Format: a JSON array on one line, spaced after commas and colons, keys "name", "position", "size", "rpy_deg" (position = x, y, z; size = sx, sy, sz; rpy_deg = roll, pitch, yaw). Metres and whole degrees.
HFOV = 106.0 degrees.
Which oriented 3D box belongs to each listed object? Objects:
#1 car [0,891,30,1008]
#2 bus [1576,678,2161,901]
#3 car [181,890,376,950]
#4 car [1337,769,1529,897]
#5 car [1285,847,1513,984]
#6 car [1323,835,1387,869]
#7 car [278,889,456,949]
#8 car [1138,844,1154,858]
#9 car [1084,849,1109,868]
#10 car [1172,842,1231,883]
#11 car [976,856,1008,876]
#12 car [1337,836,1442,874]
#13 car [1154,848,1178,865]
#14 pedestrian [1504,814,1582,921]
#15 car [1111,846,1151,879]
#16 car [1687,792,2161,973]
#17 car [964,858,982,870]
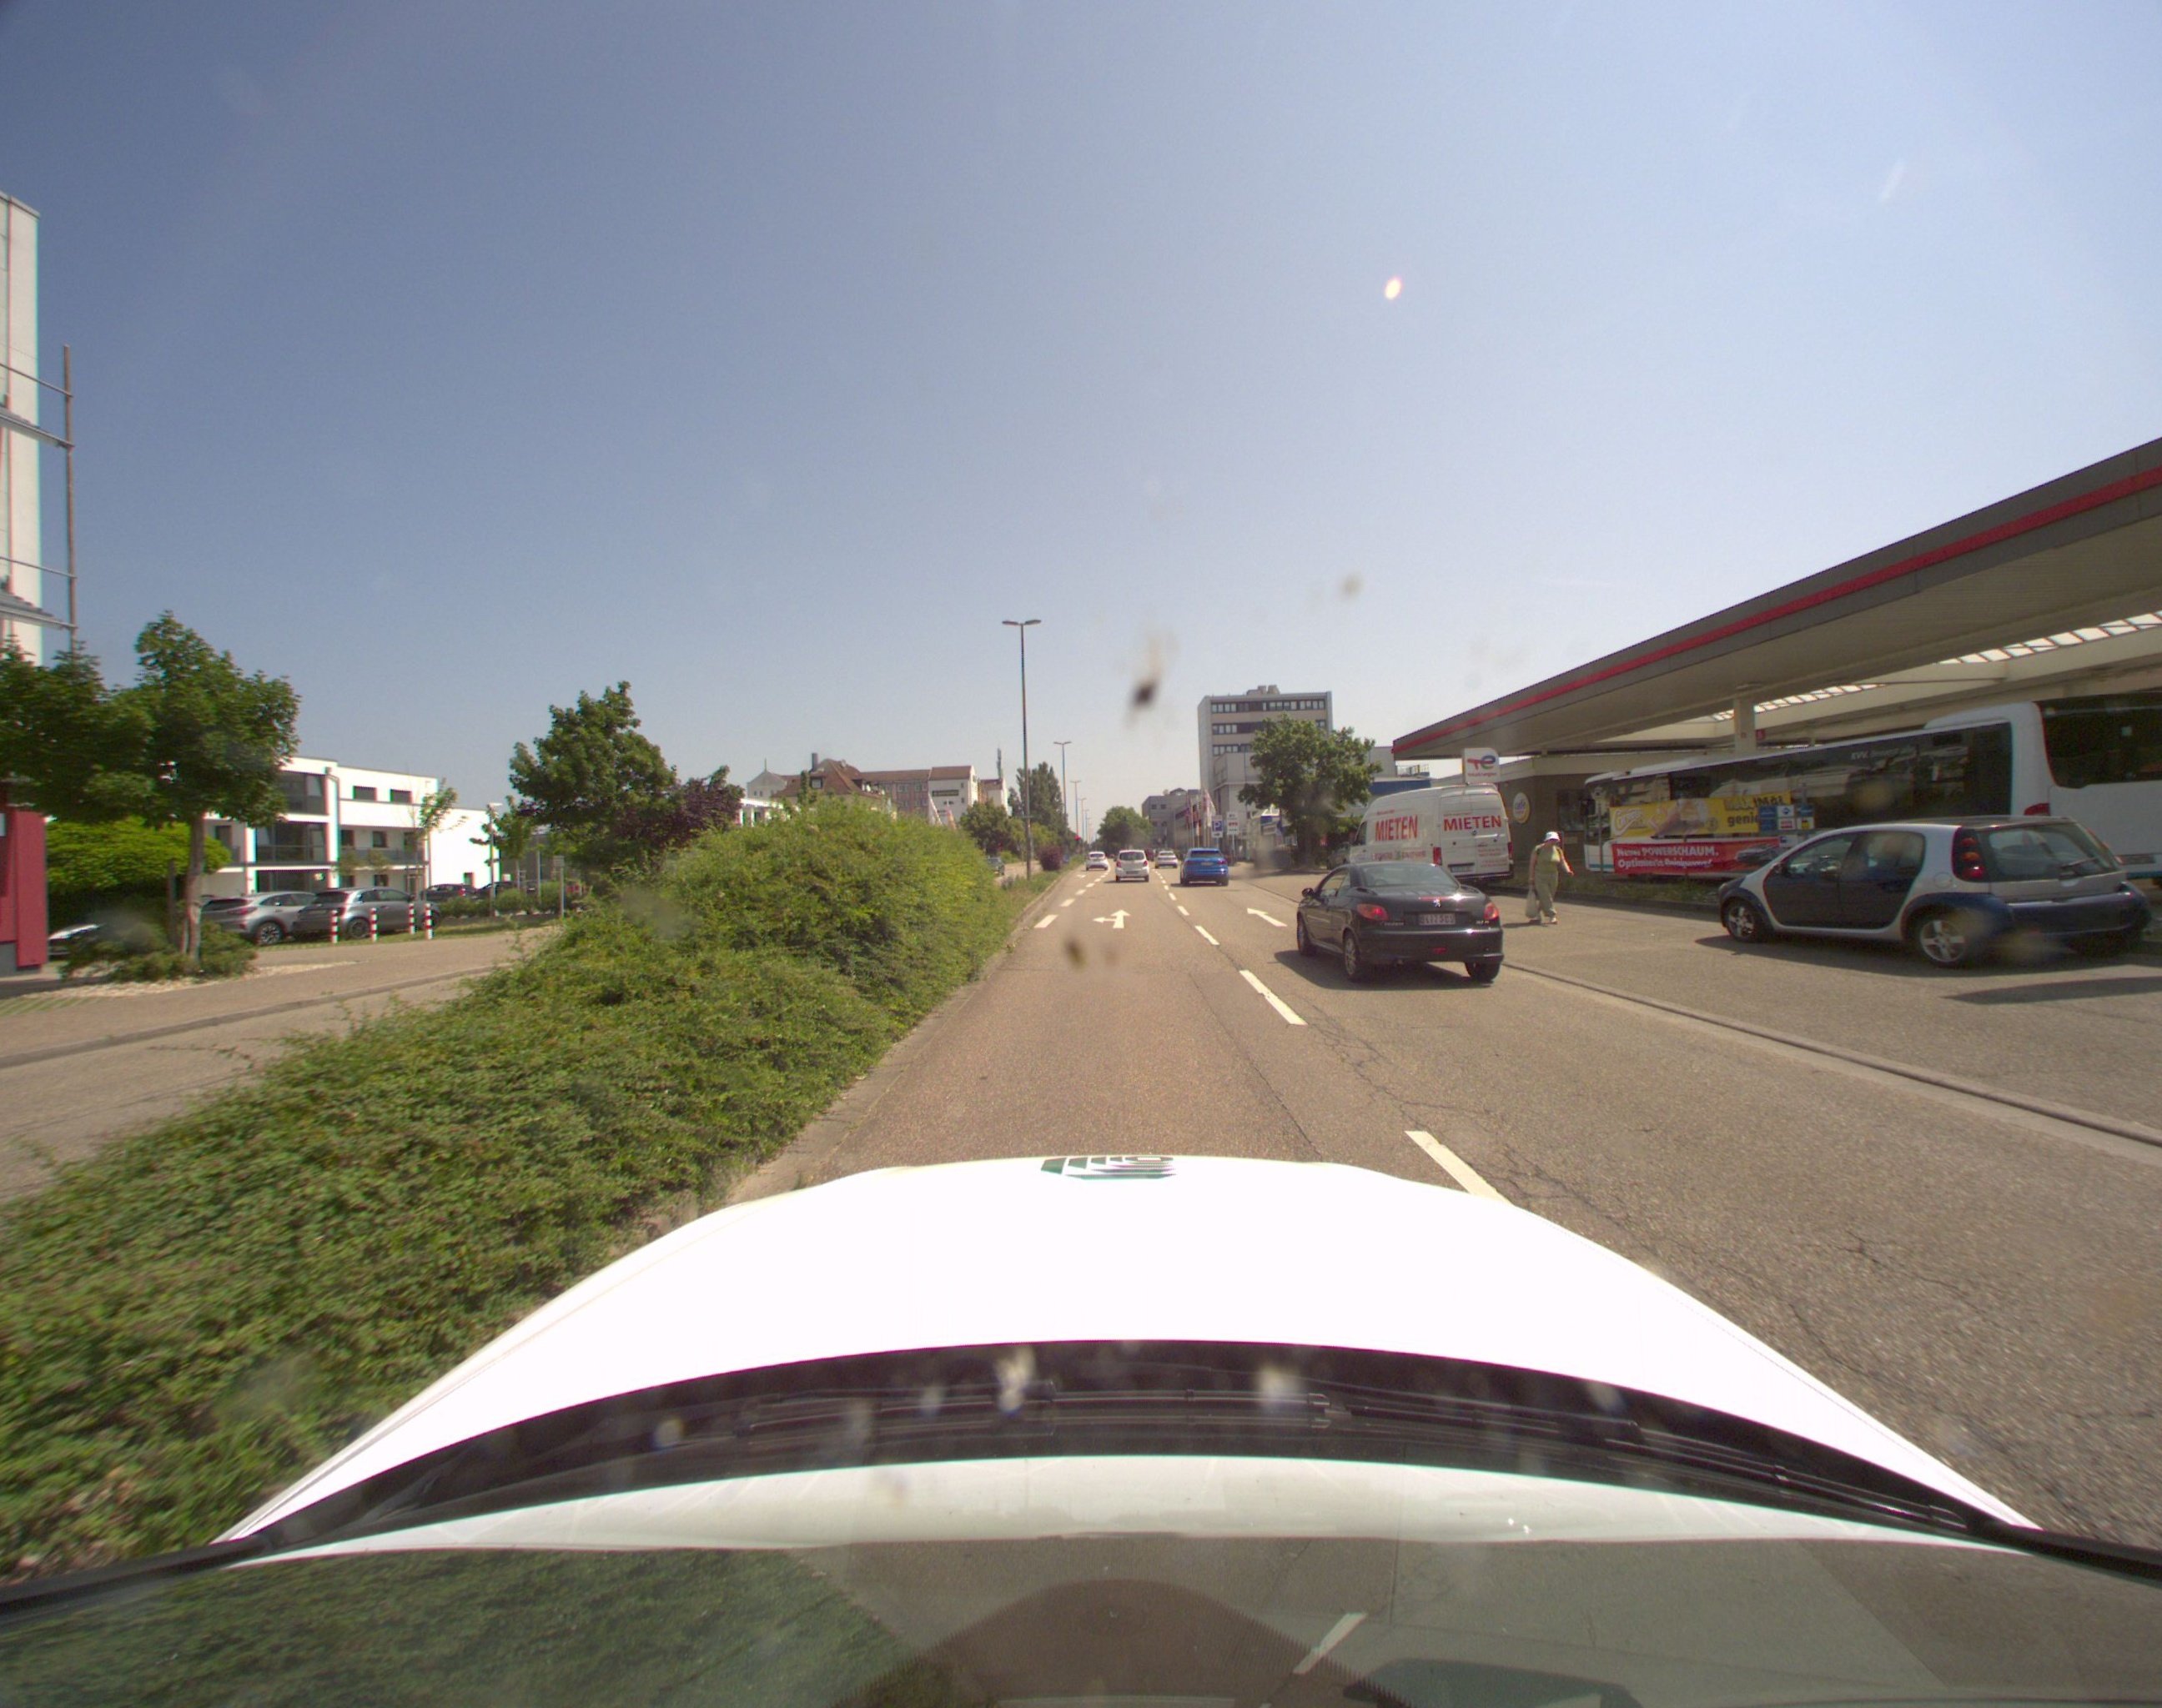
[{"name": "car", "position": [-14.815, 1.264, 8.782], "size": [1.673, 1.494, 4.042], "rpy_deg": [-1, 0, 0]}, {"name": "bus", "position": [15.338, -1.034, 17.516], "size": [2.791, 3.078, 12.302], "rpy_deg": [-2, 1, 5]}, {"name": "car", "position": [-23.697, 1.906, 24.298], "size": [1.747, 1.552, 4.001], "rpy_deg": [-1, -2, 2]}, {"name": "car", "position": [9.439, -0.502, 22.813], "size": [2.125, 2.839, 7.311], "rpy_deg": [-5, 0, 1]}, {"name": "car", "position": [3.855, 0.654, 10.521], "size": [1.594, 1.425, 3.663], "rpy_deg": [-1, 0, 2]}, {"name": "car", "position": [13.389, -0.055, 39.990], "size": [1.744, 1.511, 3.998], "rpy_deg": [-1, -2, 0]}, {"name": "car", "position": [-21.514, 1.900, 24.776], "size": [1.762, 1.547, 4.001], "rpy_deg": [-2, -2, 2]}, {"name": "car", "position": [8.666, -0.423, 109.154], "size": [1.789, 1.729, 3.970], "rpy_deg": [-1, -1, -1]}, {"name": "car", "position": [1.238, 0.378, 64.175], "size": [1.822, 1.450, 4.002], "rpy_deg": [-1, -1, 3]}, {"name": "car", "position": [5.023, 0.310, 34.566], "size": [1.906, 1.597, 4.396], "rpy_deg": [-1, 1, 1]}, {"name": "car", "position": [-6.898, 0.894, 63.788], "size": [1.890, 1.387, 4.068], "rpy_deg": [-3, 0, 1]}, {"name": "car", "position": [13.414, 0.085, 35.583], "size": [3.964, 1.511, 1.750], "rpy_deg": [-1, -2, 8]}, {"name": "car", "position": [7.072, 0.201, 67.923], "size": [1.661, 1.399, 3.795], "rpy_deg": [-2, 0, 2]}, {"name": "pedestrian", "position": [8.146, 0.223, 14.382], "size": [0.812, 1.748, 0.703], "rpy_deg": [-7, 2, 1]}, {"name": "car", "position": [2.398, 0.404, 39.803], "size": [1.707, 1.511, 3.245], "rpy_deg": [-1, 0, -1]}, {"name": "car", "position": [9.304, 0.257, 9.435], "size": [1.651, 1.519, 3.820], "rpy_deg": [-5, 0, 1]}, {"name": "car", "position": [-13.303, 1.192, 100.069], "size": [1.898, 1.354, 3.994], "rpy_deg": [-1, -2, -4]}]
